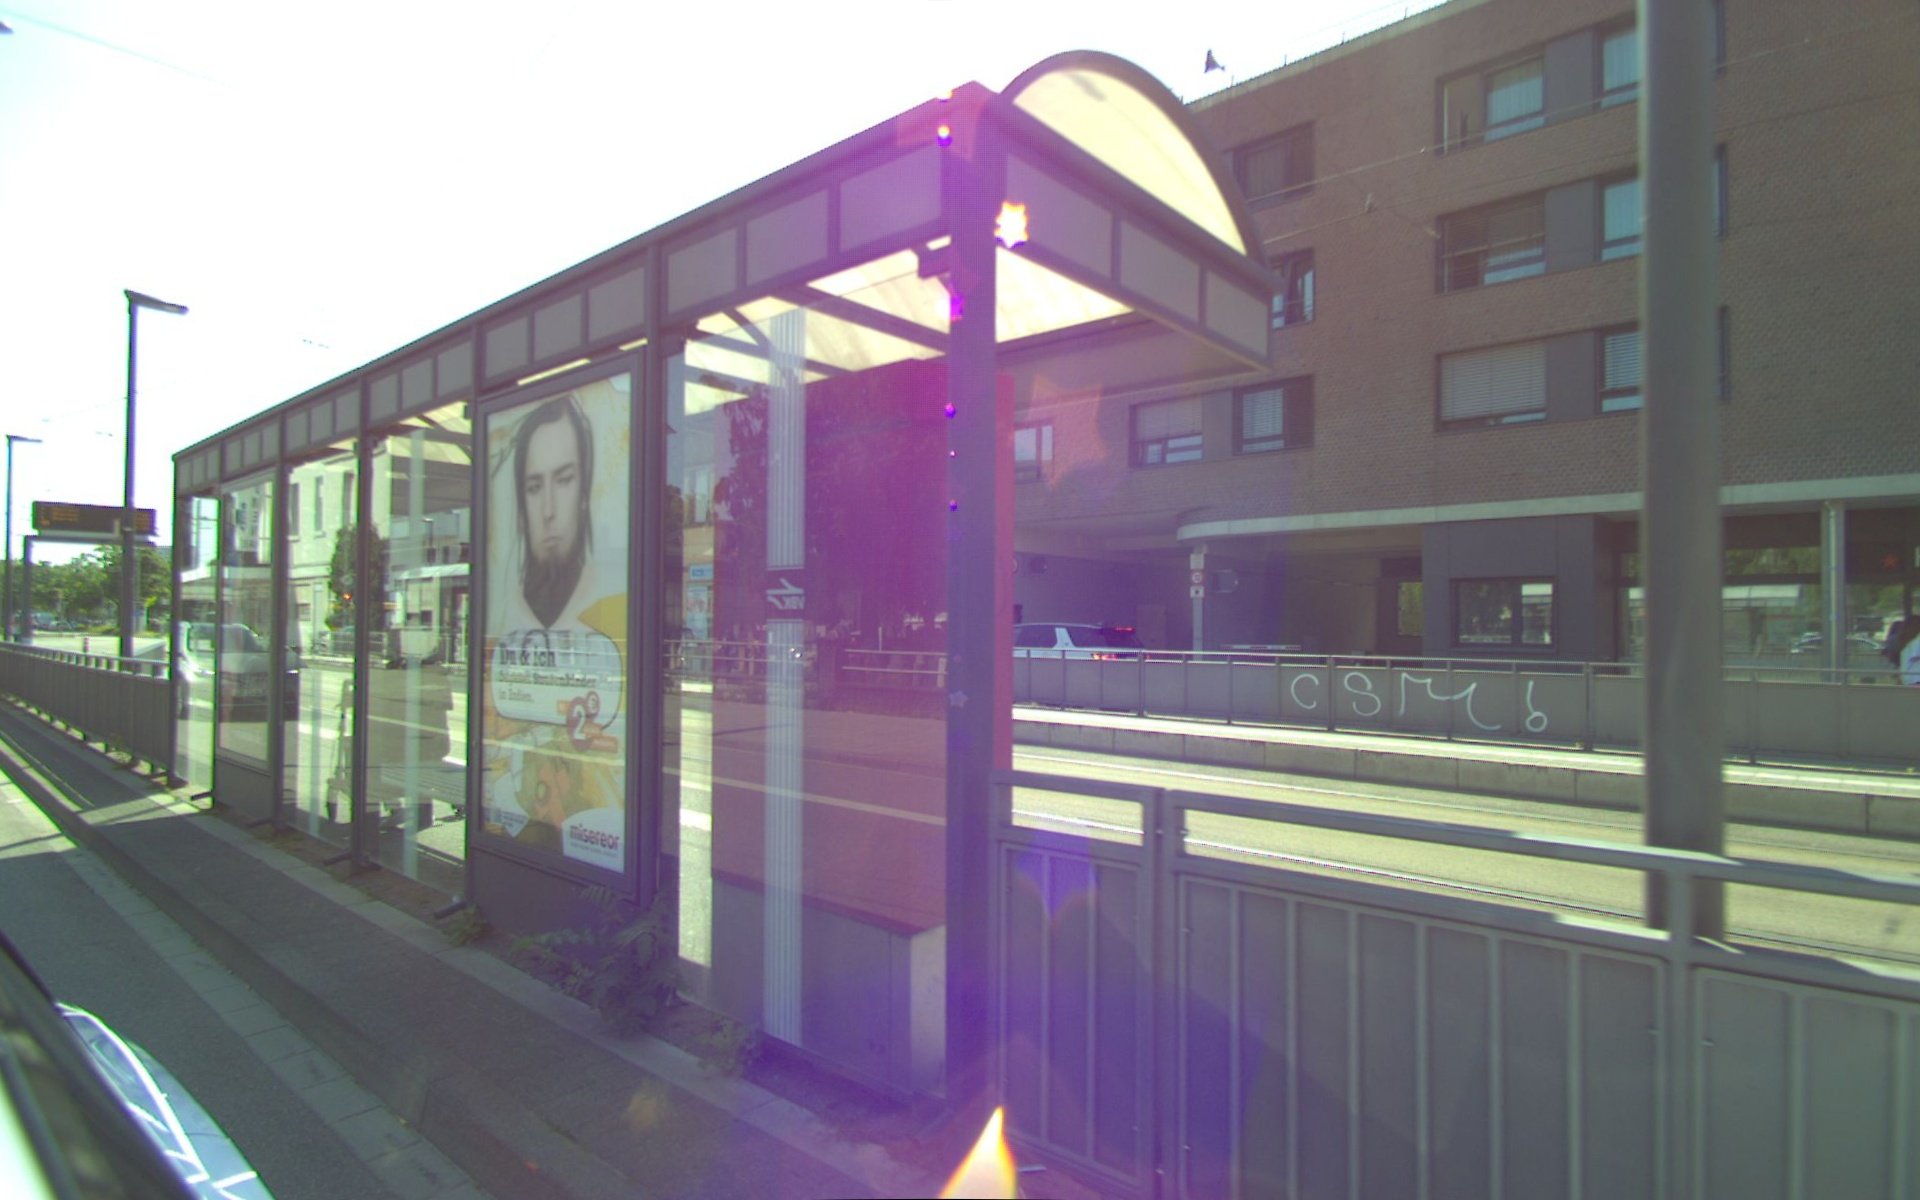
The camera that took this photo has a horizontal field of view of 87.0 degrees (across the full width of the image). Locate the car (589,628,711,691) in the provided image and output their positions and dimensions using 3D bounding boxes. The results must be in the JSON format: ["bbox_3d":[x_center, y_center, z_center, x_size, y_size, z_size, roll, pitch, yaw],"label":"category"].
[{"bbox_3d":[-8.766,1.623,28.484,3.578,1.635,1.693,-2,-1,42],"label":"car"}]

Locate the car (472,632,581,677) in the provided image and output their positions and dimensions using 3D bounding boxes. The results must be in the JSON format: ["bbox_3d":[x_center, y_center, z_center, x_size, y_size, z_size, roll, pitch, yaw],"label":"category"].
[{"bbox_3d":[-14.685,1.793,34.150,4.519,1.373,1.614,-1,-3,42],"label":"car"}]

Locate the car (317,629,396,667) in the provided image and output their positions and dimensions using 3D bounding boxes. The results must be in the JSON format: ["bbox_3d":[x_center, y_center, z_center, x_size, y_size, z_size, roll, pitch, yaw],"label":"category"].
[{"bbox_3d":[-26.543,2.085,44.447,4.471,1.527,1.694,-2,-1,42],"label":"car"}]

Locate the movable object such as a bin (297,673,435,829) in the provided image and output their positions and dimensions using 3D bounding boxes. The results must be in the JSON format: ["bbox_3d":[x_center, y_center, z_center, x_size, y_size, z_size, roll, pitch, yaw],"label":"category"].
[{"bbox_3d":[-3.811,0.939,6.502,0.488,0.907,0.623,-1,-3,41],"label":"movable object such as a bin"}]

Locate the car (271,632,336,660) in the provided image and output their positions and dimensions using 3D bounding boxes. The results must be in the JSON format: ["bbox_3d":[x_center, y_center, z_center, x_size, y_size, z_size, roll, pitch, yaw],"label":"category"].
[{"bbox_3d":[-32.511,2.232,50.068,4.078,1.253,1.694,-1,0,42],"label":"car"}]

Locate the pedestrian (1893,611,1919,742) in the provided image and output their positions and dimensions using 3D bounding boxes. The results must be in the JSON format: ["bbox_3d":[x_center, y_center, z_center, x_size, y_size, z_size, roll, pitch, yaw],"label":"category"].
[{"bbox_3d":[13.883,1.079,14.398,0.838,1.833,0.835,-2,-2,42],"label":"pedestrian"}]

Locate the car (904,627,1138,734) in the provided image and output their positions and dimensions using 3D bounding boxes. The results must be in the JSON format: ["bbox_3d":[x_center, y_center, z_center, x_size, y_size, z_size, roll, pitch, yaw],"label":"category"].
[{"bbox_3d":[1.059,1.408,19.007,4.188,1.742,1.781,-2,-1,42],"label":"car"}]

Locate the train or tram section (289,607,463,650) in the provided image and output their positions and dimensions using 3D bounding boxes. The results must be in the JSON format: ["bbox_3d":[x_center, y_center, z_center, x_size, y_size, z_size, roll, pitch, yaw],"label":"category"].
[{"bbox_3d":[-51.295,2.534,89.474,2.687,3.507,13.157,-1,-2,40],"label":"train or tram section"}]

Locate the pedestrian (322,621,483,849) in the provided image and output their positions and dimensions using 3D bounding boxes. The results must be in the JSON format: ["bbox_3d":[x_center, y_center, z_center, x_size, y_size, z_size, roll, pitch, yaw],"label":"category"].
[{"bbox_3d":[-3.365,0.765,6.111,0.709,1.264,0.623,-1,-3,41],"label":"pedestrian"}]

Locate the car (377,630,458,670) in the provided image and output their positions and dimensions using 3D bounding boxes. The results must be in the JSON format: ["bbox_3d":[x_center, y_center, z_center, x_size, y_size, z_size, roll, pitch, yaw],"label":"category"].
[{"bbox_3d":[-21.236,1.927,39.583,3.864,1.480,1.608,-2,-3,42],"label":"car"}]

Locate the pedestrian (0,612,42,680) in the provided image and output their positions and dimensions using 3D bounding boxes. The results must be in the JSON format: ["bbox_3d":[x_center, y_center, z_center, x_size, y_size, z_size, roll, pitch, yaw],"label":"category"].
[{"bbox_3d":[-26.888,1.302,28.795,1.237,1.873,0.970,-2,-3,42],"label":"pedestrian"}]
